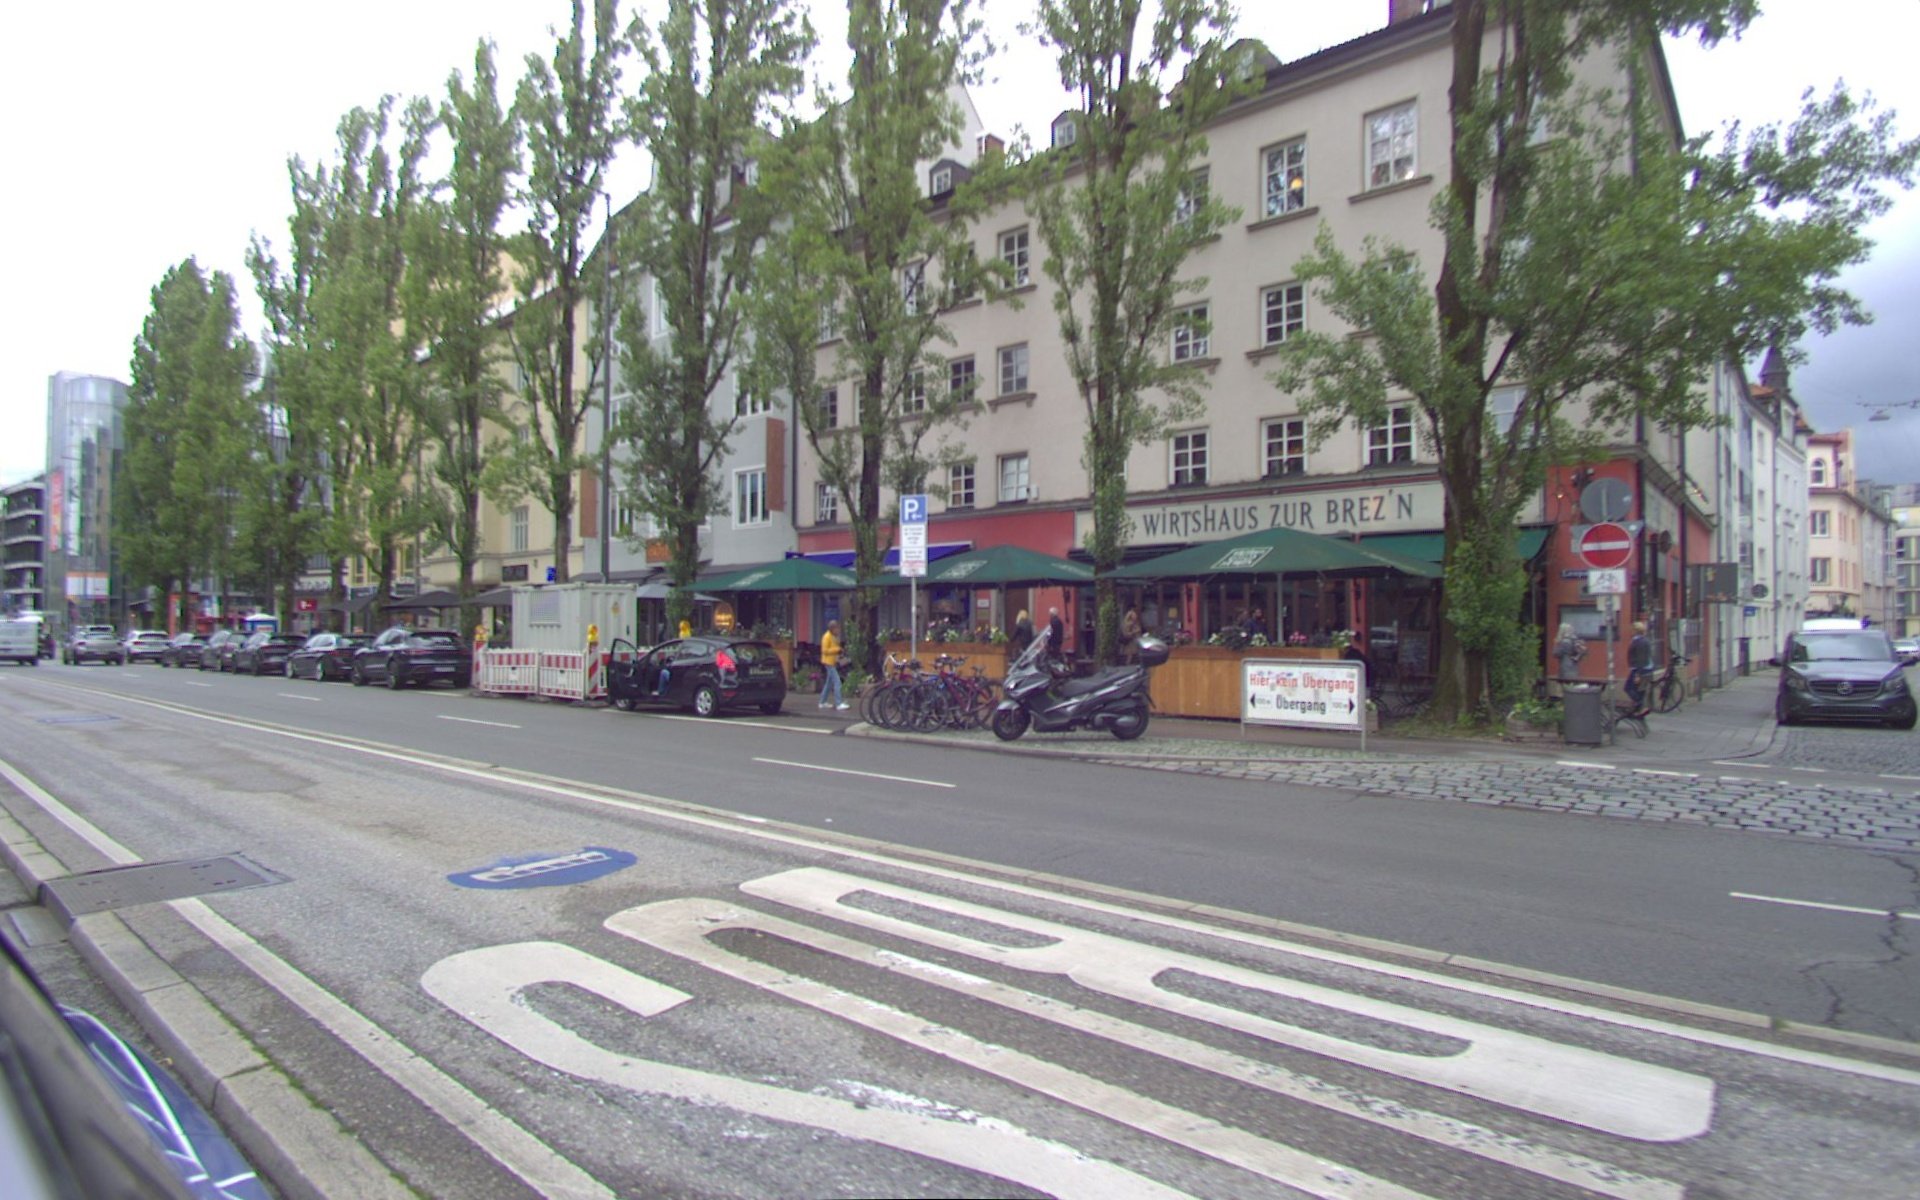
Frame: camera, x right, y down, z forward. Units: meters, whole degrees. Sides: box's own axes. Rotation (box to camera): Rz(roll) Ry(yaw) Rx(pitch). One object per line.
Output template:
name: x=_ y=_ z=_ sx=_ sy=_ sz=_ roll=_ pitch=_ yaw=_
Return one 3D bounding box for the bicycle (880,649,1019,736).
bicycle: x=-0.148 y=1.302 z=14.417 sx=1.949 sy=1.134 sz=0.283 roll=-1 pitch=0 yaw=-12

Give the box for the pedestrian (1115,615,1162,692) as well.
pedestrian: x=3.893 y=1.154 z=22.077 sx=0.732 sy=1.636 sz=0.690 roll=-2 pitch=-3 yaw=44

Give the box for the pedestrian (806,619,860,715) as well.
pedestrian: x=-2.381 y=1.238 z=18.982 sx=0.731 sy=1.739 sz=0.691 roll=-2 pitch=-3 yaw=38

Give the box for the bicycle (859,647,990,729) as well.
bicycle: x=-0.539 y=1.322 z=15.376 sx=1.949 sy=1.134 sz=0.343 roll=-1 pitch=0 yaw=-12

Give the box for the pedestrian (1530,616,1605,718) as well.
pedestrian: x=10.274 y=1.108 z=17.117 sx=0.689 sy=1.659 sz=0.930 roll=2 pitch=-3 yaw=-44

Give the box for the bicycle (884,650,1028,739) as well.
bicycle: x=-0.052 y=1.293 z=14.088 sx=1.949 sy=1.134 sz=0.362 roll=-1 pitch=0 yaw=-12

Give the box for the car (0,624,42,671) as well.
car: x=-41.847 y=2.062 z=44.147 sx=5.066 sy=1.947 sz=1.873 roll=-2 pitch=-3 yaw=39

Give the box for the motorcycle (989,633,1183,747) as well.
motorcycle: x=1.612 y=1.142 z=13.163 sx=2.426 sy=1.425 sz=0.744 roll=0 pitch=-2 yaw=8

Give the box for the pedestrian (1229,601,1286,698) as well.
pedestrian: x=6.116 y=1.017 z=20.817 sx=0.905 sy=1.941 sz=0.690 roll=-2 pitch=-3 yaw=44

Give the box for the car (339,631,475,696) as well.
car: x=-15.152 y=1.686 z=27.647 sx=4.572 sy=1.625 sz=1.778 roll=-2 pitch=-3 yaw=41

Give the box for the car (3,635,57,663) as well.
car: x=-53.469 y=2.783 z=58.168 sx=4.360 sy=1.530 sz=1.728 roll=-2 pitch=-3 yaw=40

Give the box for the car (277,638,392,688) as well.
car: x=-19.558 y=1.910 z=31.586 sx=4.572 sy=1.451 sz=1.778 roll=-2 pitch=-3 yaw=41

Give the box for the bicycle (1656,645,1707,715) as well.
bicycle: x=13.713 y=1.481 z=19.209 sx=0.645 sy=1.214 sz=2.317 roll=-2 pitch=-3 yaw=39

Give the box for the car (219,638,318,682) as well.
car: x=-24.459 y=2.078 z=35.744 sx=4.572 sy=1.451 sz=1.778 roll=-2 pitch=-3 yaw=41

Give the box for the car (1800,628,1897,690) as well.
car: x=27.780 y=1.842 z=31.759 sx=2.116 sy=1.780 sz=4.525 roll=-2 pitch=-4 yaw=40

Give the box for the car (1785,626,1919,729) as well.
car: x=17.421 y=1.453 z=19.724 sx=1.982 sy=1.780 sz=4.525 roll=-2 pitch=-4 yaw=40

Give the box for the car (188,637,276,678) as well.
car: x=-28.459 y=2.211 z=39.518 sx=4.572 sy=1.515 sz=1.778 roll=-2 pitch=-3 yaw=41

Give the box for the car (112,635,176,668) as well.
car: x=-40.510 y=2.532 z=50.213 sx=4.102 sy=1.590 sz=1.778 roll=-2 pitch=-3 yaw=41

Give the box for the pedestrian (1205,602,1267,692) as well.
pedestrian: x=5.478 y=0.926 z=20.100 sx=0.950 sy=1.735 sz=0.690 roll=-2 pitch=-3 yaw=44

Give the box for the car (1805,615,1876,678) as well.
car: x=34.945 y=1.860 z=40.180 sx=1.982 sy=2.384 sz=4.523 roll=-2 pitch=-4 yaw=41

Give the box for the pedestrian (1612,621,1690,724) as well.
pedestrian: x=11.580 y=1.195 z=16.969 sx=0.689 sy=1.659 sz=0.930 roll=2 pitch=-3 yaw=-44

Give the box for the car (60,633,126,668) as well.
car: x=-39.695 y=2.296 z=46.295 sx=4.075 sy=1.553 sz=1.695 roll=-2 pitch=-4 yaw=41

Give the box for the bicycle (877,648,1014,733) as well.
bicycle: x=-0.208 y=1.303 z=14.694 sx=1.949 sy=1.134 sz=0.283 roll=-1 pitch=0 yaw=-12

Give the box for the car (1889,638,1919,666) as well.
car: x=62.713 y=3.433 z=66.642 sx=4.518 sy=1.780 sz=1.985 roll=3 pitch=-4 yaw=-44

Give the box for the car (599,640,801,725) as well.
car: x=-4.937 y=1.473 z=19.052 sx=3.779 sy=1.433 sz=1.739 roll=-2 pitch=-3 yaw=38

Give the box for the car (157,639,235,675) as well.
car: x=-32.733 y=2.395 z=43.322 sx=4.572 sy=1.451 sz=1.778 roll=-2 pitch=-3 yaw=41

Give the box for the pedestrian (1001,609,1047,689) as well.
pedestrian: x=1.591 y=1.204 z=25.217 sx=0.905 sy=1.941 sz=0.690 roll=-2 pitch=-3 yaw=44
